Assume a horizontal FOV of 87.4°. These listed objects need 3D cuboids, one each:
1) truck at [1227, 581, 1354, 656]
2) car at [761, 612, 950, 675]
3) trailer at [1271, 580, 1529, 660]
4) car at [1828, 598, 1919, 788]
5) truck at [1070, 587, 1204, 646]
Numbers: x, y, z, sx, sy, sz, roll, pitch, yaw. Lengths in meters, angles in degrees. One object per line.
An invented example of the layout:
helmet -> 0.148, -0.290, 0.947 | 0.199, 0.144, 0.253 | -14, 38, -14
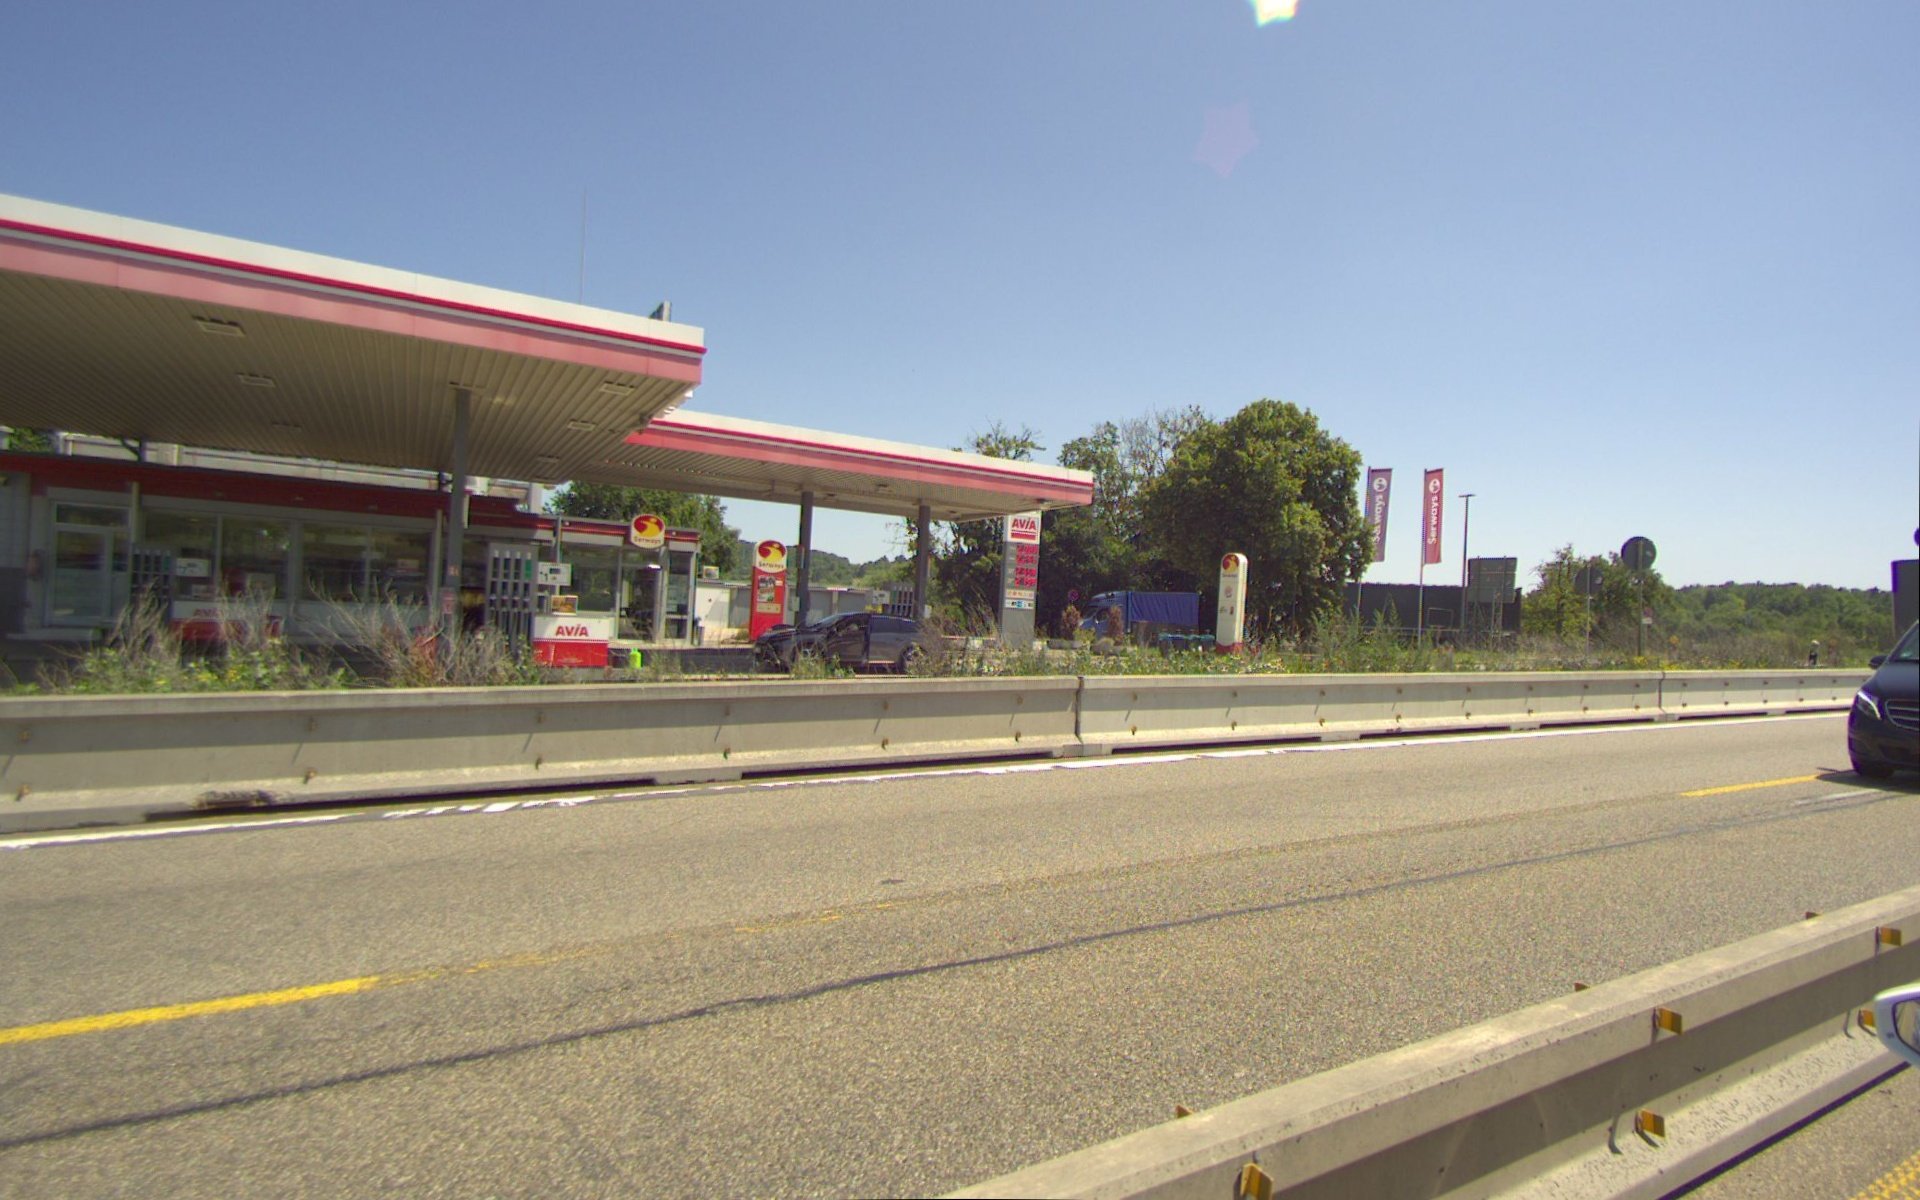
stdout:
truck -> 19.208, 1.082, 58.603 | 6.224, 4.038, 3.159 | 2, -1, -3
car -> -2.527, 1.059, 24.610 | 4.263, 1.430, 1.743 | 2, -2, -29
trailer -> 25.675, 1.189, 58.989 | 13.890, 4.165, 3.159 | 2, -1, -3
car -> 11.544, 0.934, 10.779 | 5.023, 1.829, 1.897 | 1, 0, -31
truck -> 10.126, 0.933, 57.803 | 6.991, 3.104, 2.824 | 2, -1, -8
